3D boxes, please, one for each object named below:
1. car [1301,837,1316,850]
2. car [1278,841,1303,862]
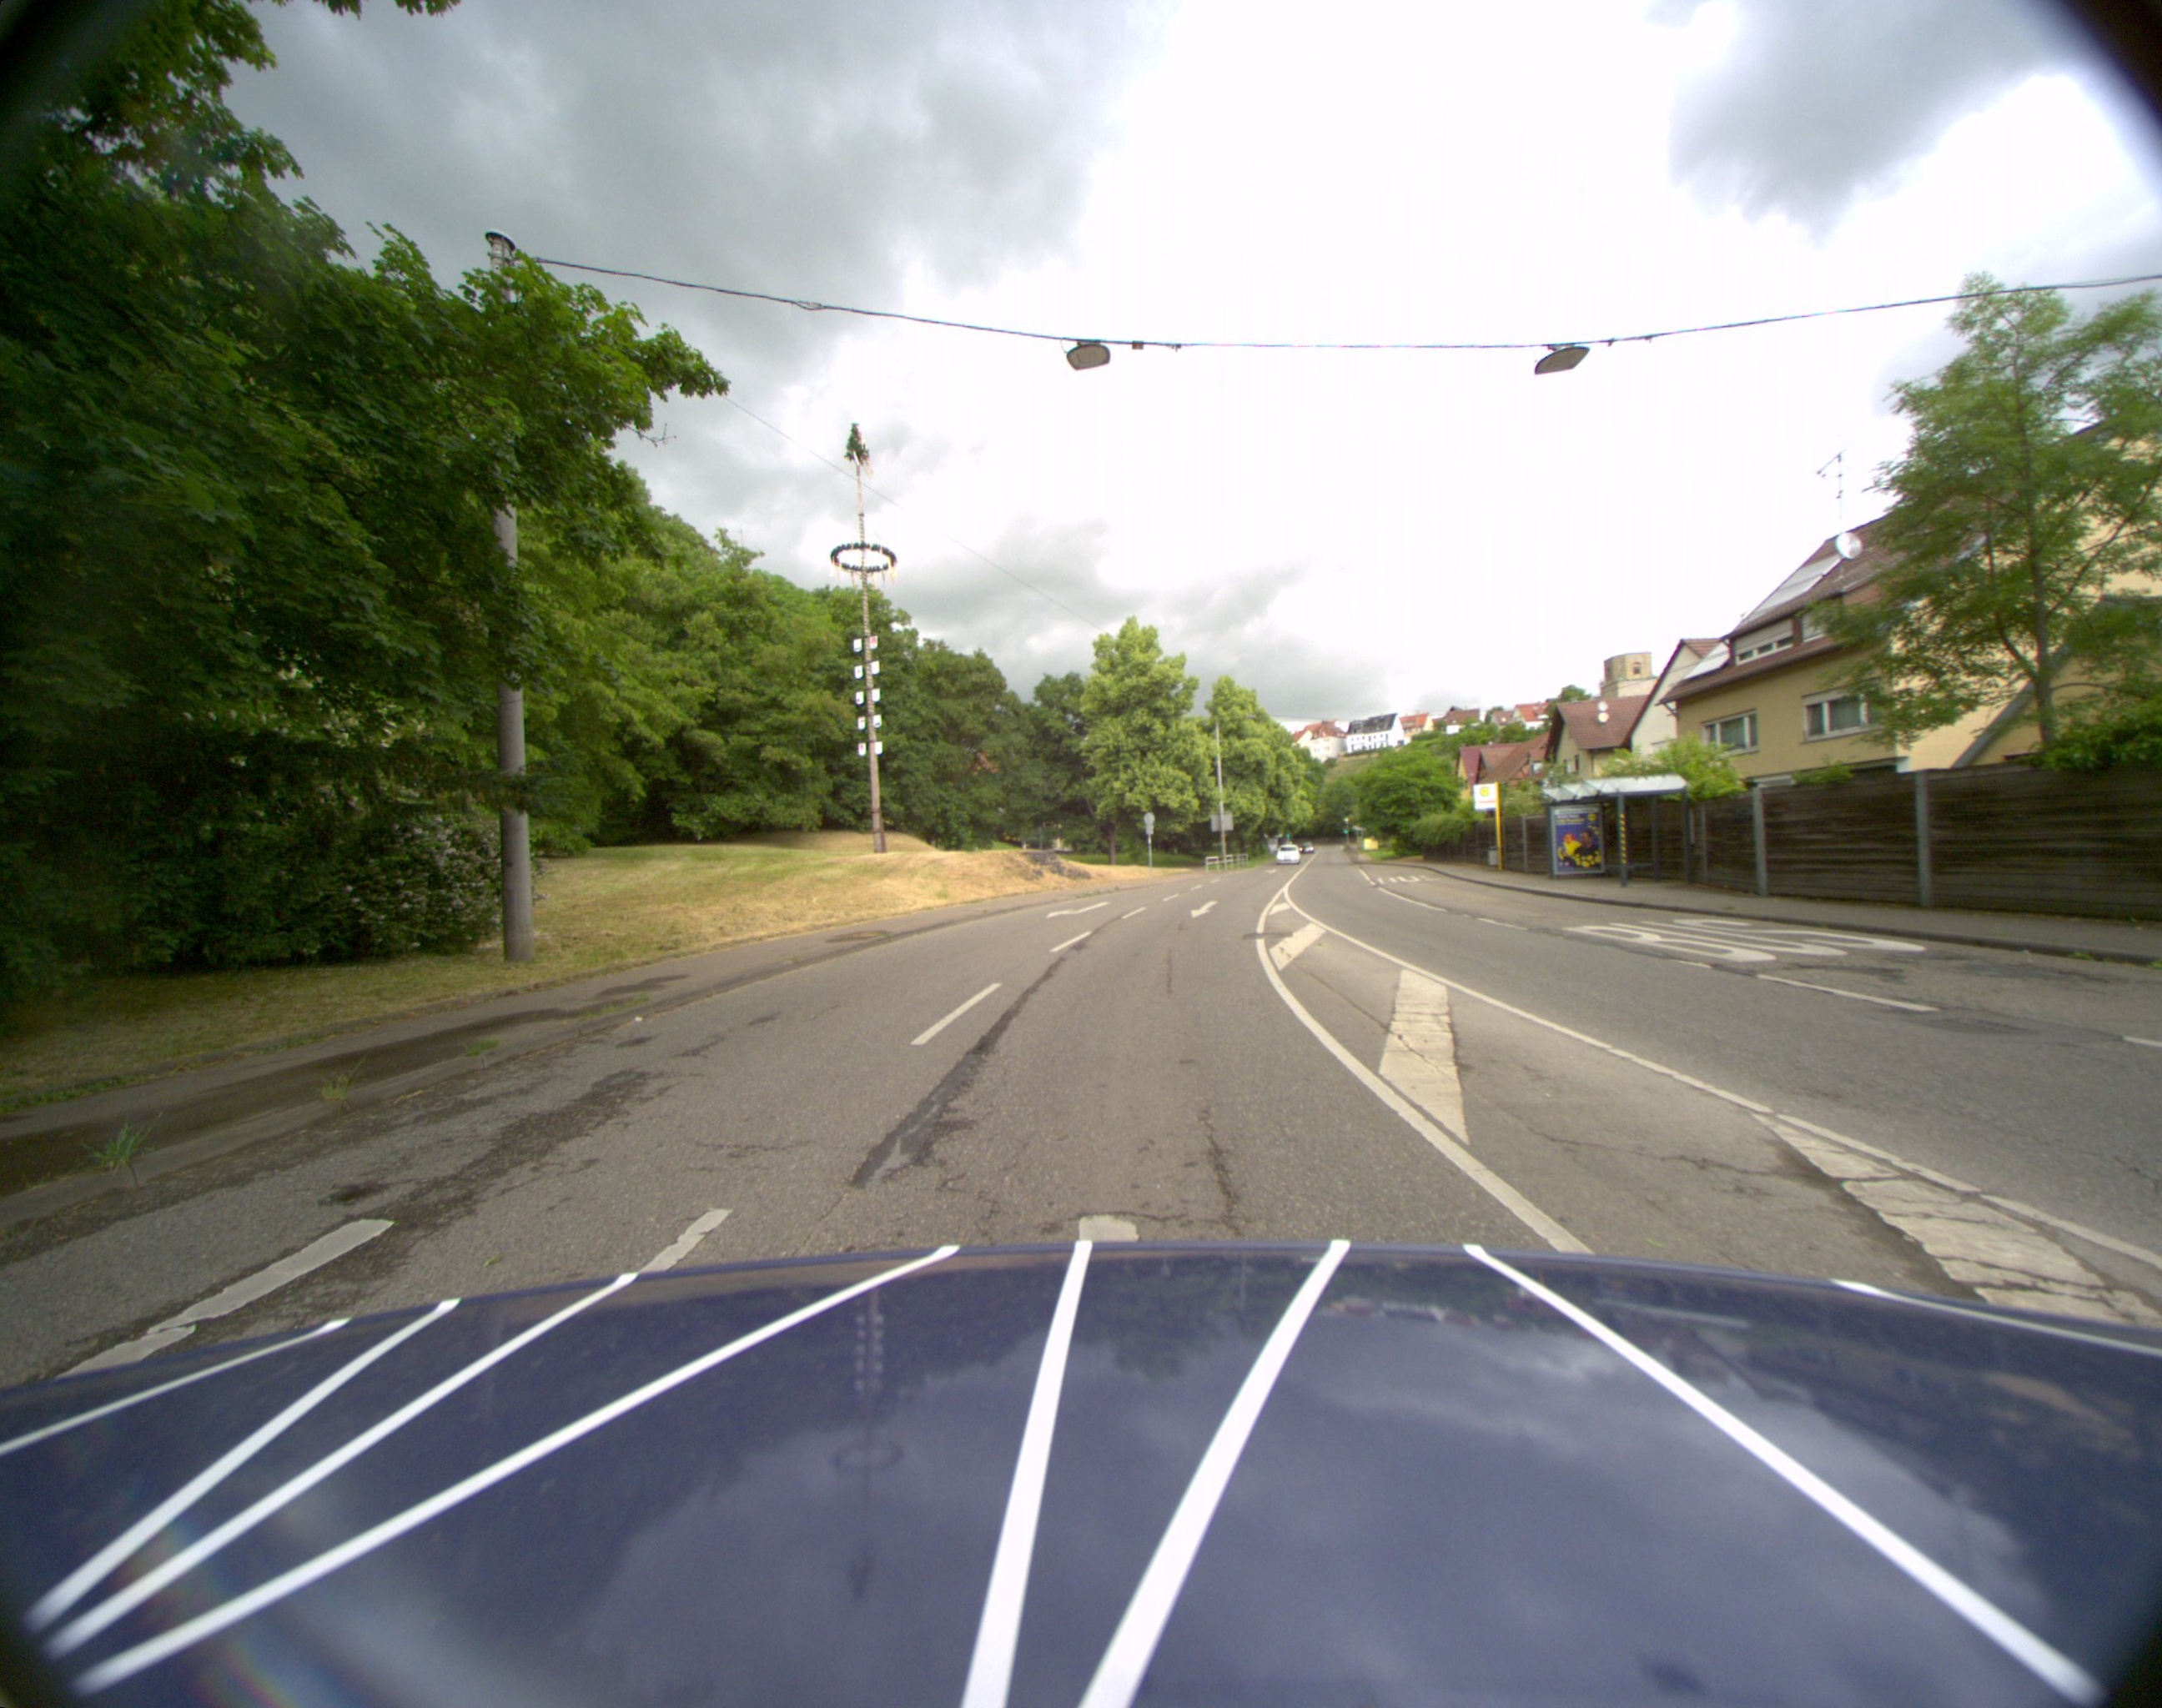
[{"bbox_3d":[29.686,-1.348,99.081,1.761,1.575,3.687,-2,1,18],"label":"car"},{"bbox_3d":[16.222,-0.198,58.719,1.761,1.516,3.687,-2,1,17],"label":"car"}]
